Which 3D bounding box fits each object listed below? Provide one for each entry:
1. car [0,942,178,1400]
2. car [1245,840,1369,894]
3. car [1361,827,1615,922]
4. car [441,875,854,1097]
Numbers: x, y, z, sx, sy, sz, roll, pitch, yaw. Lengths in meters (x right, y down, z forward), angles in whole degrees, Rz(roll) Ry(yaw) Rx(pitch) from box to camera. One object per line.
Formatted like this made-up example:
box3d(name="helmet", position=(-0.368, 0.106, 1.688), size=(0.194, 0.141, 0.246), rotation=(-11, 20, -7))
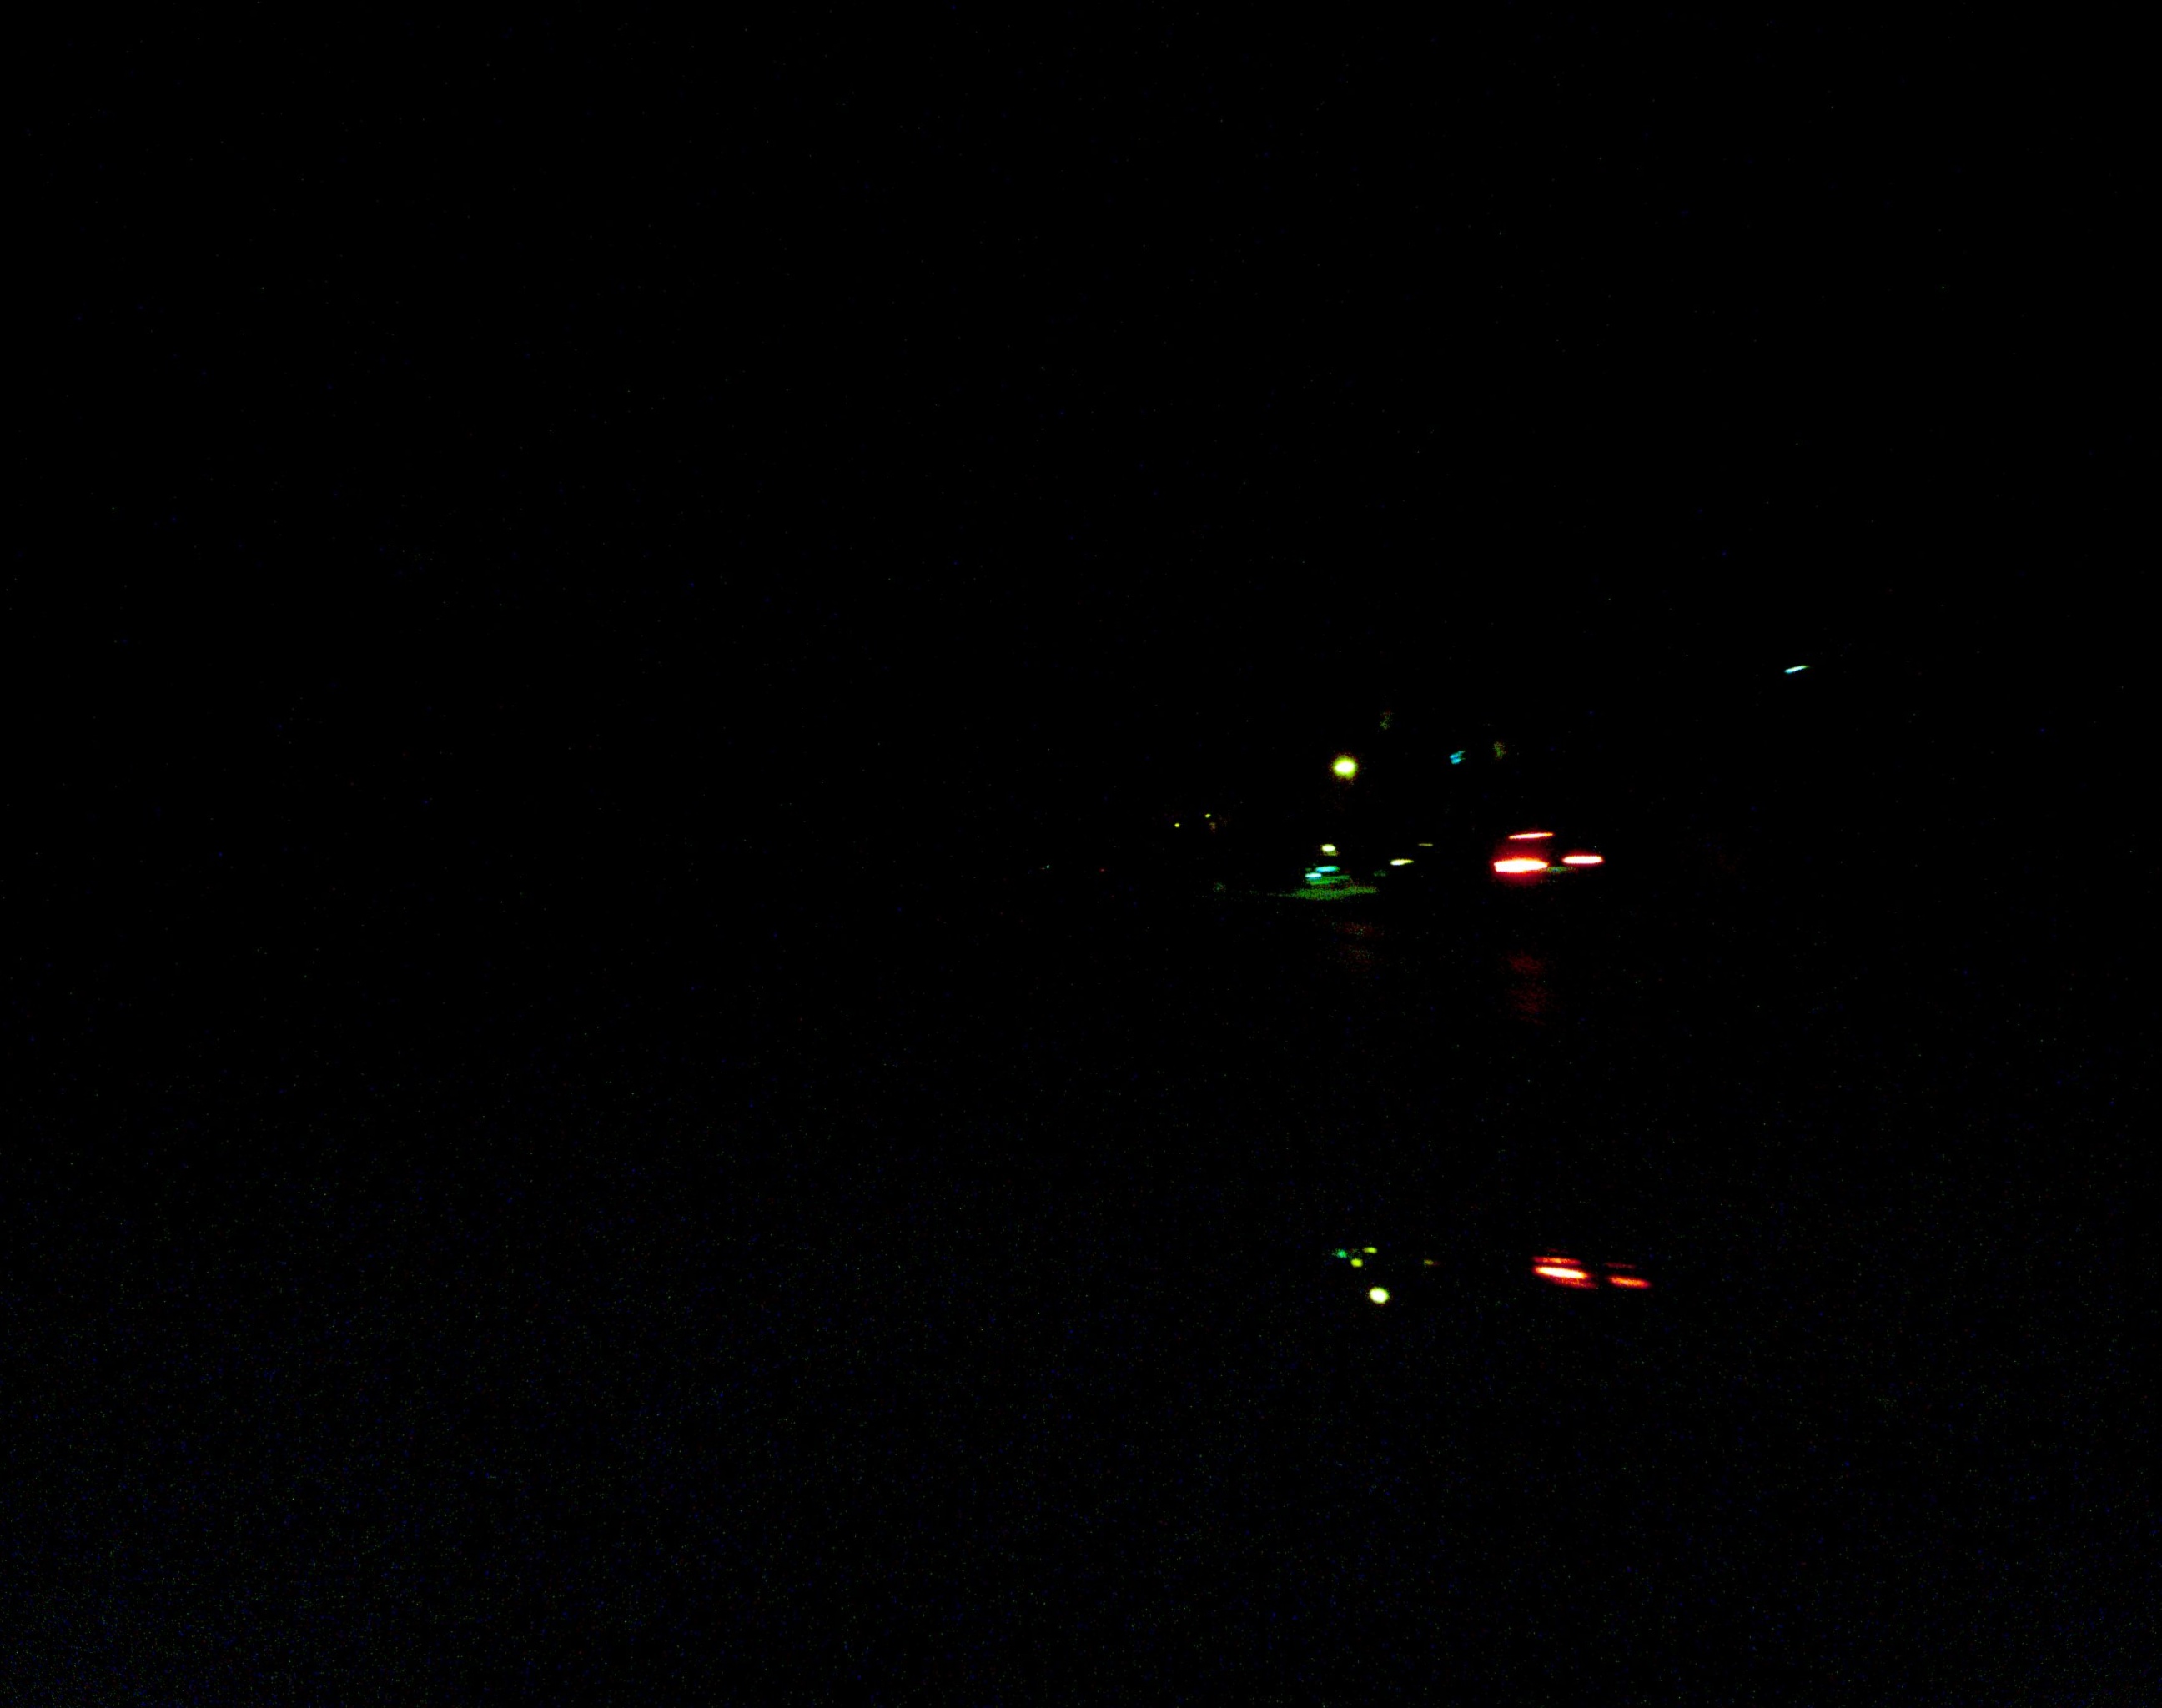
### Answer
box3d(name="car", position=(-4.810, 1.212, 1.159), size=(1.939, 1.543, 4.000), rotation=(-4, 0, 1))
box3d(name="car", position=(6.902, 0.373, 23.808), size=(2.000, 1.371, 4.595), rotation=(-4, 0, -7))
box3d(name="car", position=(7.636, 0.339, 14.976), size=(1.854, 1.436, 4.913), rotation=(-4, 0, -7))
box3d(name="car", position=(-4.130, 1.120, 8.287), size=(1.999, 1.543, 4.326), rotation=(-4, 0, -2))
